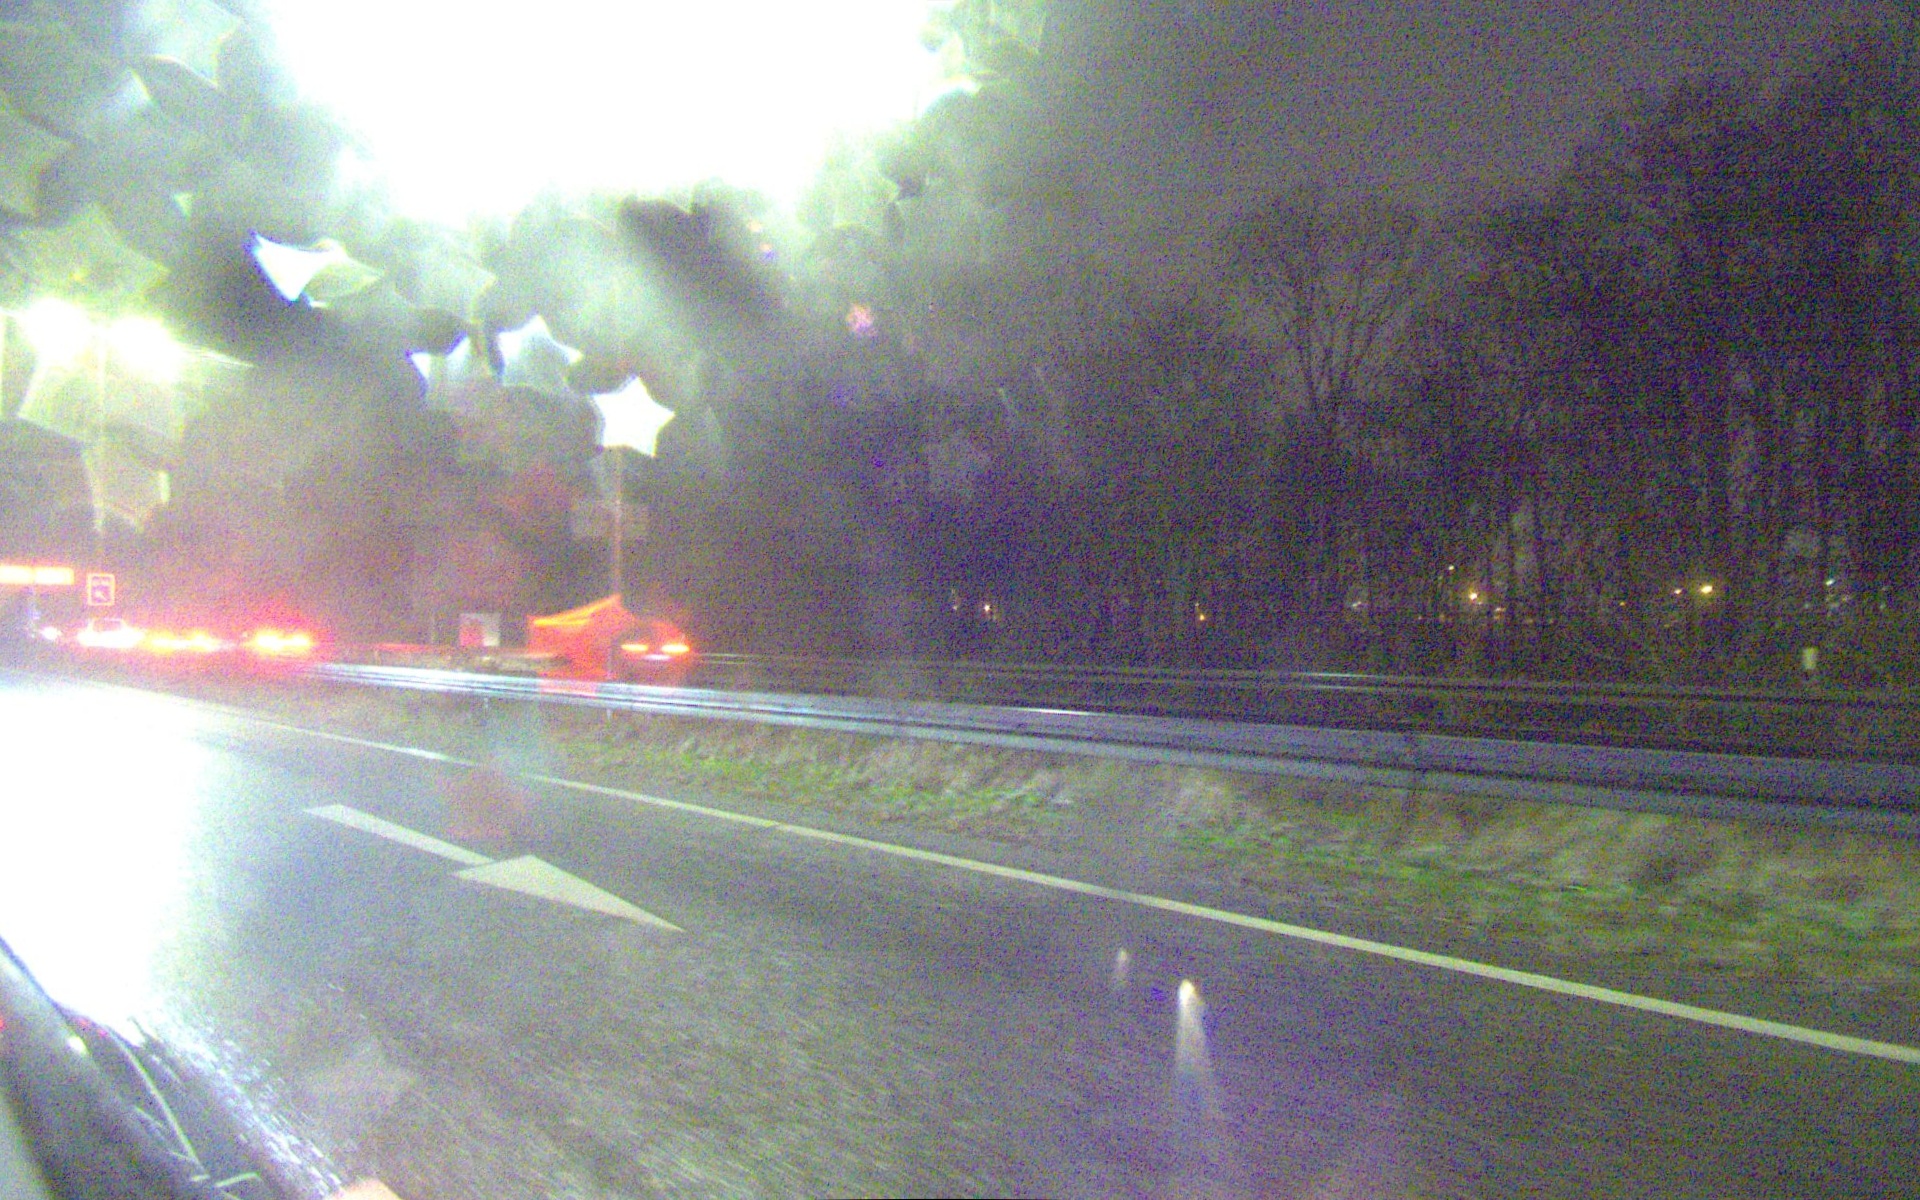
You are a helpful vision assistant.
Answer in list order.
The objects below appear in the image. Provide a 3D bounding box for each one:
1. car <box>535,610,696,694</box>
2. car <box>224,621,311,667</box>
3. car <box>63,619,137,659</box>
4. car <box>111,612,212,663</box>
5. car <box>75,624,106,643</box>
[{"bbox_3d":[-8.710,1.222,25.427,4.198,1.822,1.973,0,1,41],"label":"car"},{"bbox_3d":[-30.941,1.919,45.189,4.701,1.787,1.974,0,1,39],"label":"car"},{"bbox_3d":[-42.816,1.895,50.357,4.701,1.787,1.974,0,1,39],"label":"car"},{"bbox_3d":[-31.458,1.418,39.834,4.701,1.787,2.144,0,1,39],"label":"car"},{"bbox_3d":[-78.056,2.978,90.841,3.832,1.563,1.583,0,1,41],"label":"car"}]
